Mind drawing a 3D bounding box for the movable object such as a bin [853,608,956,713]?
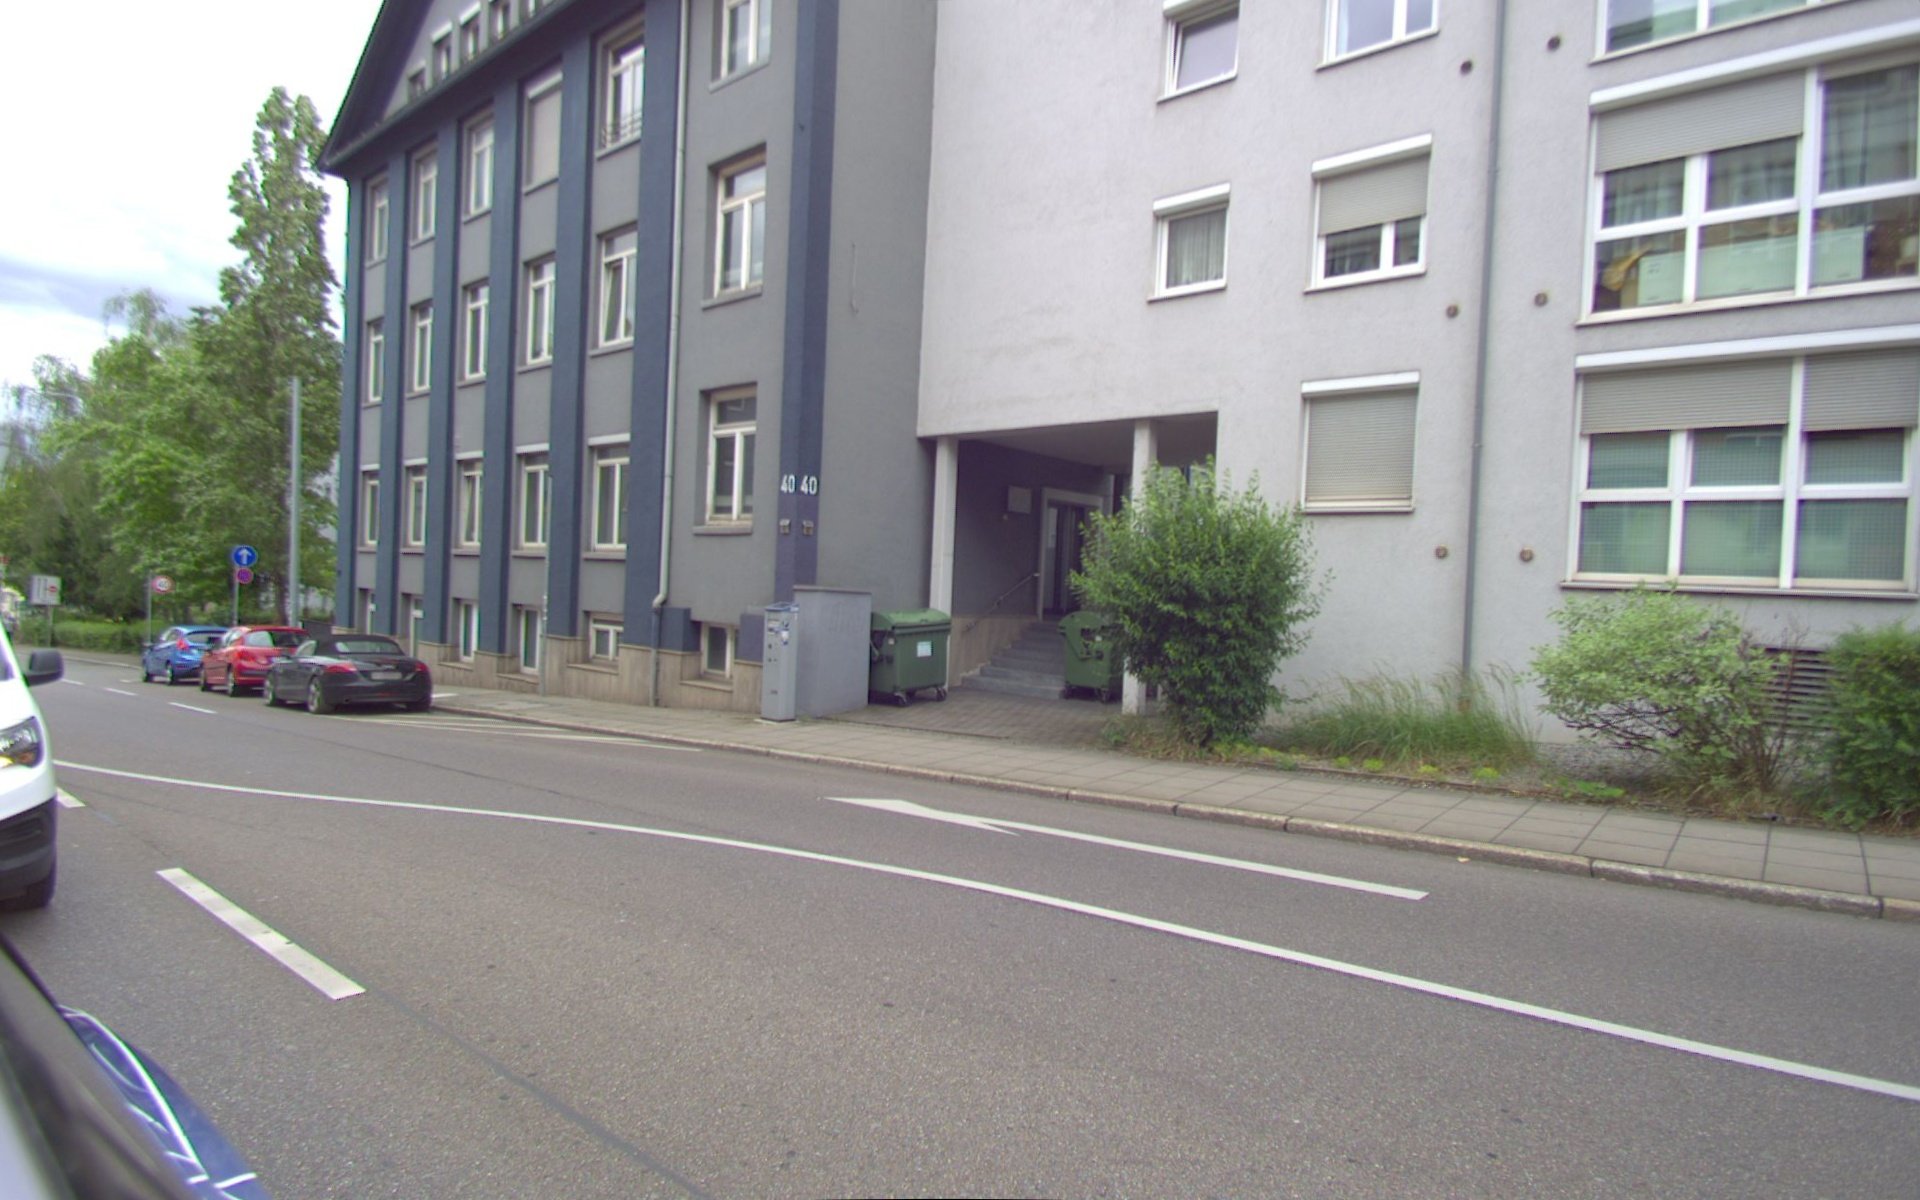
[{"bbox_3d":[-0.862,0.900,15.722,1.039,1.518,1.213,-1,0,41],"label":"movable object such as a bin"}]

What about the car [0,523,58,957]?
[{"bbox_3d":[-6.146,0.636,5.246,3.998,1.901,1.716,-1,0,41],"label":"car"}]

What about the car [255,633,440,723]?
[{"bbox_3d":[-11.002,1.308,18.093,3.727,1.403,1.778,-1,-2,41],"label":"car"}]

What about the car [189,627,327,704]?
[{"bbox_3d":[-15.338,1.366,22.046,3.727,1.460,1.623,-1,0,41],"label":"car"}]

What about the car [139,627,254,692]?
[{"bbox_3d":[-19.427,1.445,25.706,3.727,1.460,1.623,-1,0,41],"label":"car"}]

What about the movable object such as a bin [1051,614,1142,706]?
[{"bbox_3d":[2.235,0.949,16.560,1.078,1.427,1.026,-1,0,41],"label":"movable object such as a bin"}]
